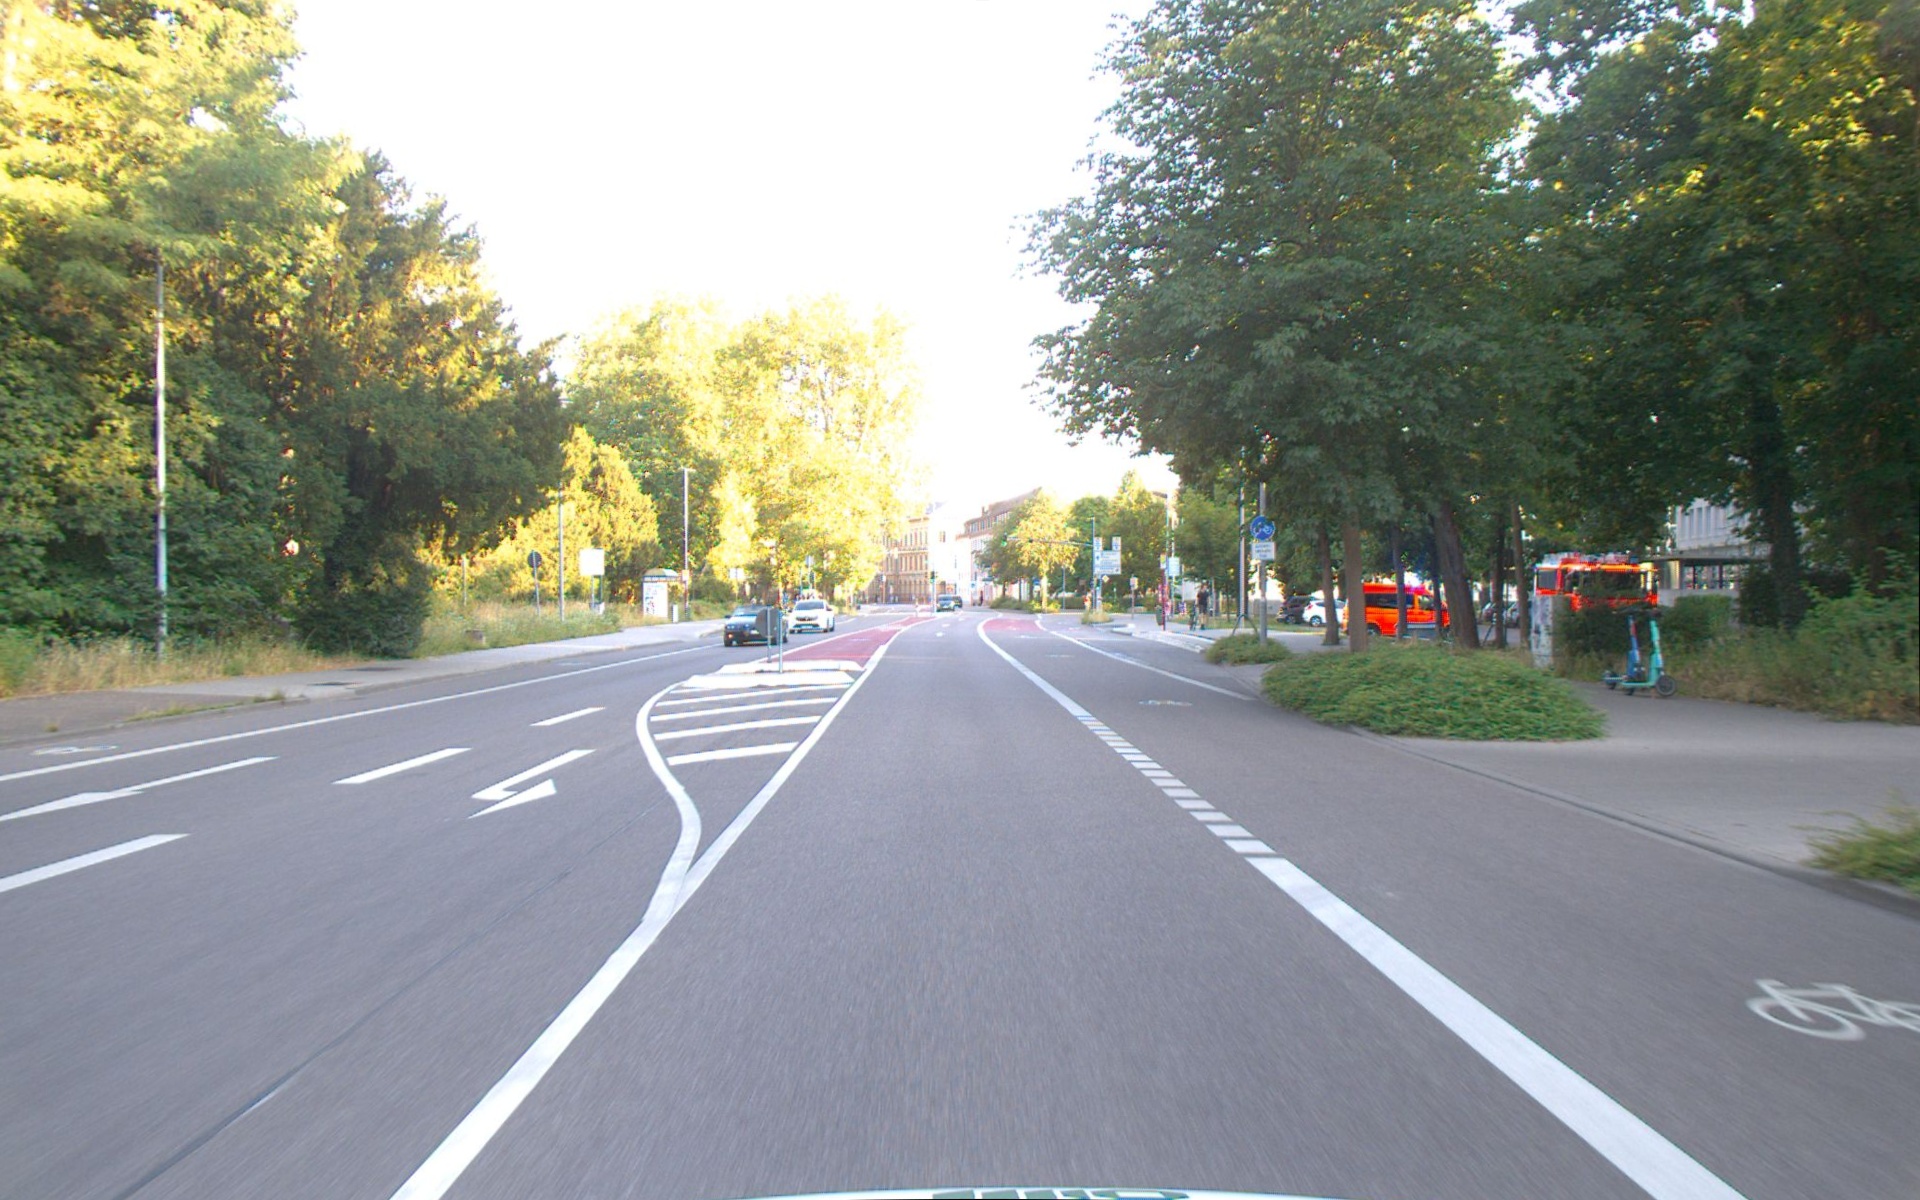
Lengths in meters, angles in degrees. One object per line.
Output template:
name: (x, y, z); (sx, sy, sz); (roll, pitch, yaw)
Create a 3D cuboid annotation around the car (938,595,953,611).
car: (-1.412, 0.313, 161.602); (1.462, 1.512, 3.490); (0, 0, 0)

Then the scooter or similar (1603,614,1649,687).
scooter or similar: (10.101, 0.755, 25.103); (0.304, 1.060, 0.980); (0, 0, 0)

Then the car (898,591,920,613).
car: (-3.597, 0.139, 116.567); (1.462, 1.512, 3.490); (0, 0, 0)

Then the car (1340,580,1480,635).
car: (16.735, 0.275, 61.664); (4.806, 2.024, 1.923); (0, 0, 7)

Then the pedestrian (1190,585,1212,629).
pedestrian: (9.808, 0.285, 67.360); (0.754, 1.770, 0.731); (0, 0, 0)

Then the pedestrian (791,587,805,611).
pedestrian: (-11.297, -0.065, 115.462); (0.774, 1.608, 0.746); (1, 0, 8)

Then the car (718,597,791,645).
car: (-6.674, 0.656, 54.116); (1.760, 1.478, 4.128); (0, 0, 1)

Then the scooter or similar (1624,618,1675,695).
scooter or similar: (9.824, 0.793, 23.568); (0.304, 1.060, 0.980); (0, 0, 0)

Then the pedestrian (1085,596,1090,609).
pedestrian: (11.684, 0.220, 151.374); (0.382, 1.260, 0.404); (0, 0, 0)

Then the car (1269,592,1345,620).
car: (20.911, 0.352, 99.903); (4.364, 1.618, 1.717); (0, 0, 7)

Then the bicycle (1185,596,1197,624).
bicycle: (9.396, 0.392, 67.211); (0.293, 1.119, 1.522); (0, 0, 1)

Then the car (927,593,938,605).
car: (-3.625, -0.095, 216.911); (1.462, 1.512, 3.490); (0, 0, 0)

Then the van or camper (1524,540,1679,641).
van or camper: (22.588, -0.335, 58.756); (3.364, 3.255, 8.238); (2, 0, 9)

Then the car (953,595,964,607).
car: (-0.178, 0.149, 216.065); (1.462, 1.512, 3.490); (0, 0, 0)

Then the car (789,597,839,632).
car: (-6.402, 0.606, 72.924); (1.760, 1.478, 4.128); (0, 0, 1)

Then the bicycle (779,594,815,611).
bicycle: (-11.375, 0.179, 115.459); (2.410, 1.216, 0.757); (0, 0, 9)

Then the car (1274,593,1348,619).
car: (21.839, 0.367, 103.146); (4.364, 1.618, 1.717); (0, 0, 7)

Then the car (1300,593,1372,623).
car: (20.544, 0.412, 90.500); (3.693, 1.618, 1.717); (0, 0, 7)
